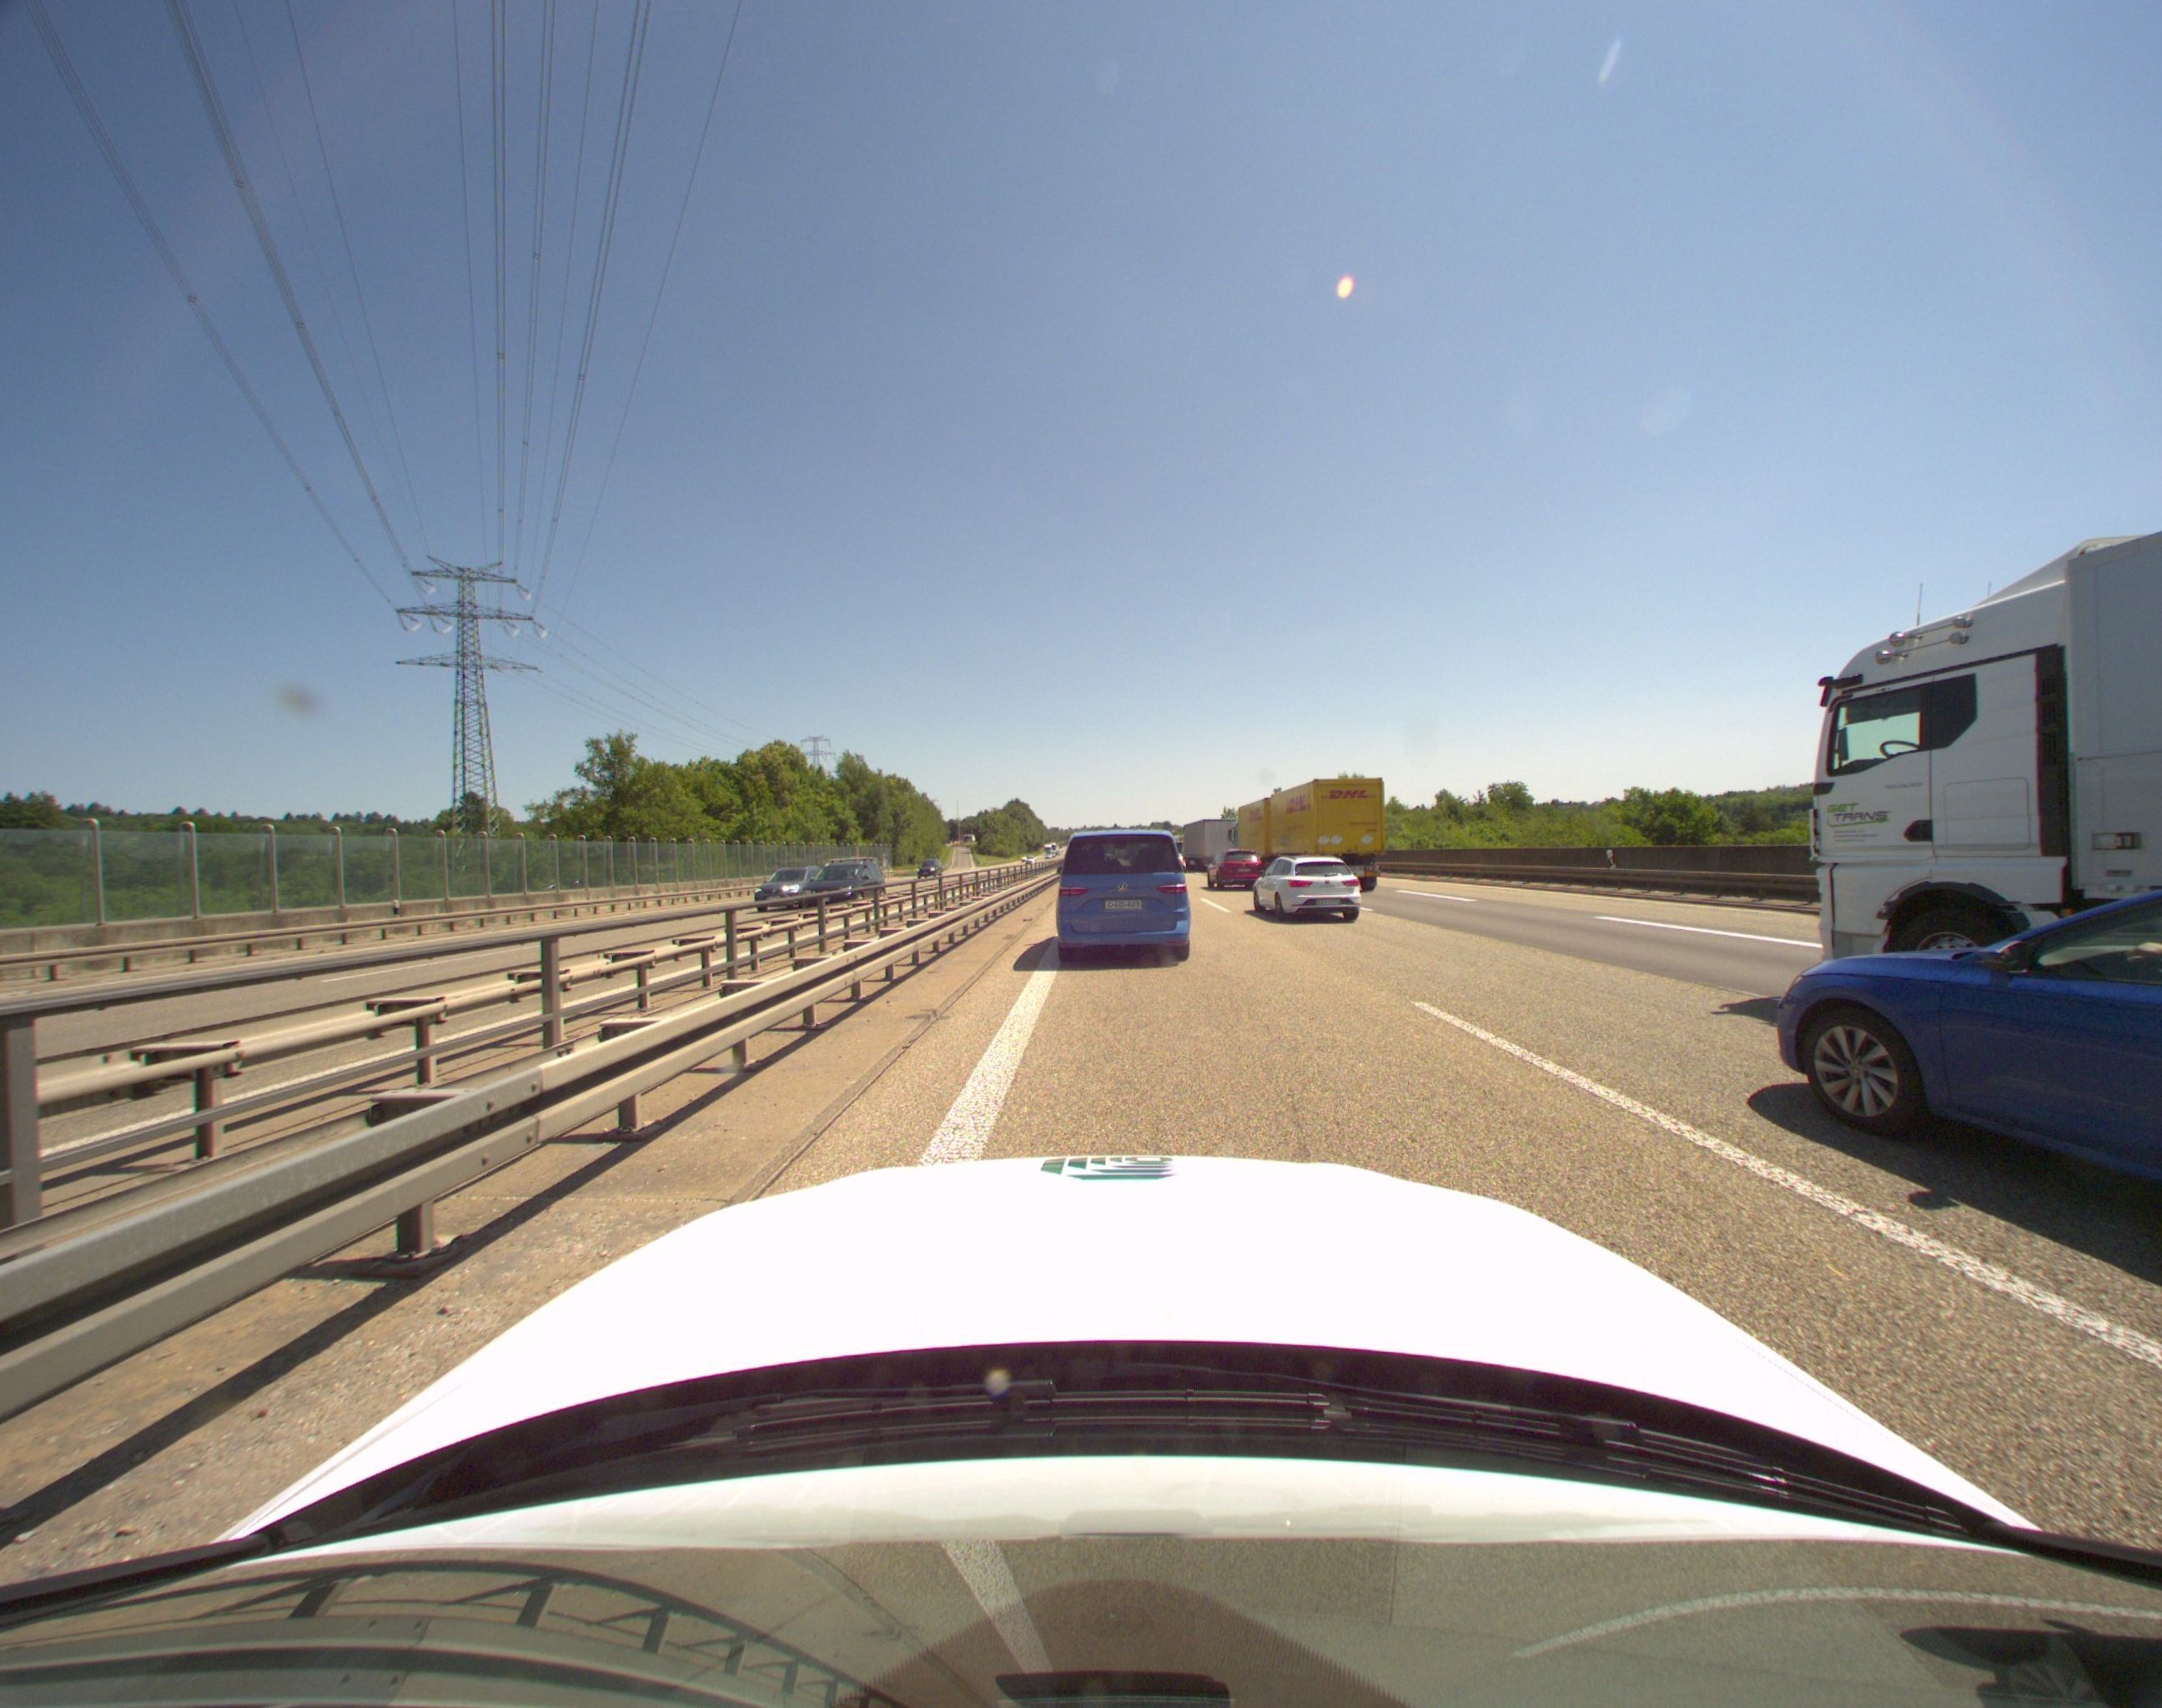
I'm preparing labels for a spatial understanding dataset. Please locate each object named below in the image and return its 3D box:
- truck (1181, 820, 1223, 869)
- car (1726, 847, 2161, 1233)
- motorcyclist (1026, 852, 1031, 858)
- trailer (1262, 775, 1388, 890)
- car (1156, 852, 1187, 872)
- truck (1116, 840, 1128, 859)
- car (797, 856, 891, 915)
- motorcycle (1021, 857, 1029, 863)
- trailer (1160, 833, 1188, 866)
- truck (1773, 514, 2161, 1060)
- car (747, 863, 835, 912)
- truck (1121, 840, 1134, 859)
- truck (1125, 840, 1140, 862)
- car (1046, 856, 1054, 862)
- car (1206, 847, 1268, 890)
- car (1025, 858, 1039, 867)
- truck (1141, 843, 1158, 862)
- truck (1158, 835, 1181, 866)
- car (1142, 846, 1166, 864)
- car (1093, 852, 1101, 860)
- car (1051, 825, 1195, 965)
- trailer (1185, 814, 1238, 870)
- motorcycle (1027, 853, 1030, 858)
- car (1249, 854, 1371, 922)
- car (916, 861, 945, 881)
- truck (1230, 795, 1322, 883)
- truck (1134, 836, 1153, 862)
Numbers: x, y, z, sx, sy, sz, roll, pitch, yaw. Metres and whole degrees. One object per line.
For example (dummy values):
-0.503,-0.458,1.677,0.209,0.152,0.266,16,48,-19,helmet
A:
10.458,-0.758,70.959,2.758,4.095,6.985,0,-1,1,truck
4.904,0.692,2.923,1.703,1.440,4.502,-1,0,2,car
-12.857,0.139,199.465,0.895,1.441,1.083,-2,1,1,motorcyclist
9.578,-0.717,33.117,2.691,4.023,8.934,0,-1,2,trailer
6.582,0.575,59.417,1.832,1.414,4.000,-1,0,0,car
12.208,-1.285,243.973,2.824,5.373,12.553,0,-1,0,truck
-7.729,0.960,26.976,1.748,1.721,4.102,-3,0,2,car
-12.169,1.243,177.602,1.361,1.099,2.577,-4,0,1,motorcycle
11.074,-0.473,97.793,2.371,3.744,11.190,0,-1,1,trailer
8.501,-0.468,3.053,2.840,3.603,10.771,0,-1,1,truck
-11.117,1.248,31.529,1.748,1.547,4.002,-5,0,2,car
12.756,-1.147,224.305,2.824,4.885,13.219,-3,0,0,truck
12.397,-0.695,197.329,2.824,5.040,11.815,0,-1,0,truck
-8.160,1.378,214.326,1.709,1.434,4.177,-4,0,1,car
6.279,0.552,33.172,1.844,1.608,4.002,-1,0,2,car
-8.644,1.537,144.000,1.903,1.394,4.166,-3,-1,1,car
12.210,-0.278,145.740,2.348,3.218,9.739,0,-1,0,truck
11.211,-0.414,103.465,2.359,3.722,6.034,0,-1,1,truck
7.084,0.110,79.373,1.711,1.587,3.817,-2,0,-3,car
4.330,0.593,217.992,1.986,2.014,4.001,0,-1,1,car
0.626,0.555,12.876,1.875,1.837,4.002,-1,0,2,car
10.318,-0.824,65.630,2.744,4.146,11.315,0,-1,2,trailer
-12.863,0.337,199.434,0.699,1.070,2.306,-2,1,2,motorcycle
5.198,0.709,19.066,1.774,1.387,4.189,-1,0,2,car
-14.347,1.574,77.696,1.776,1.785,4.303,-3,0,1,car
9.934,-0.624,42.768,2.712,4.054,10.340,0,-1,2,truck
12.479,-0.937,163.454,2.824,5.040,11.145,0,-1,0,truck
